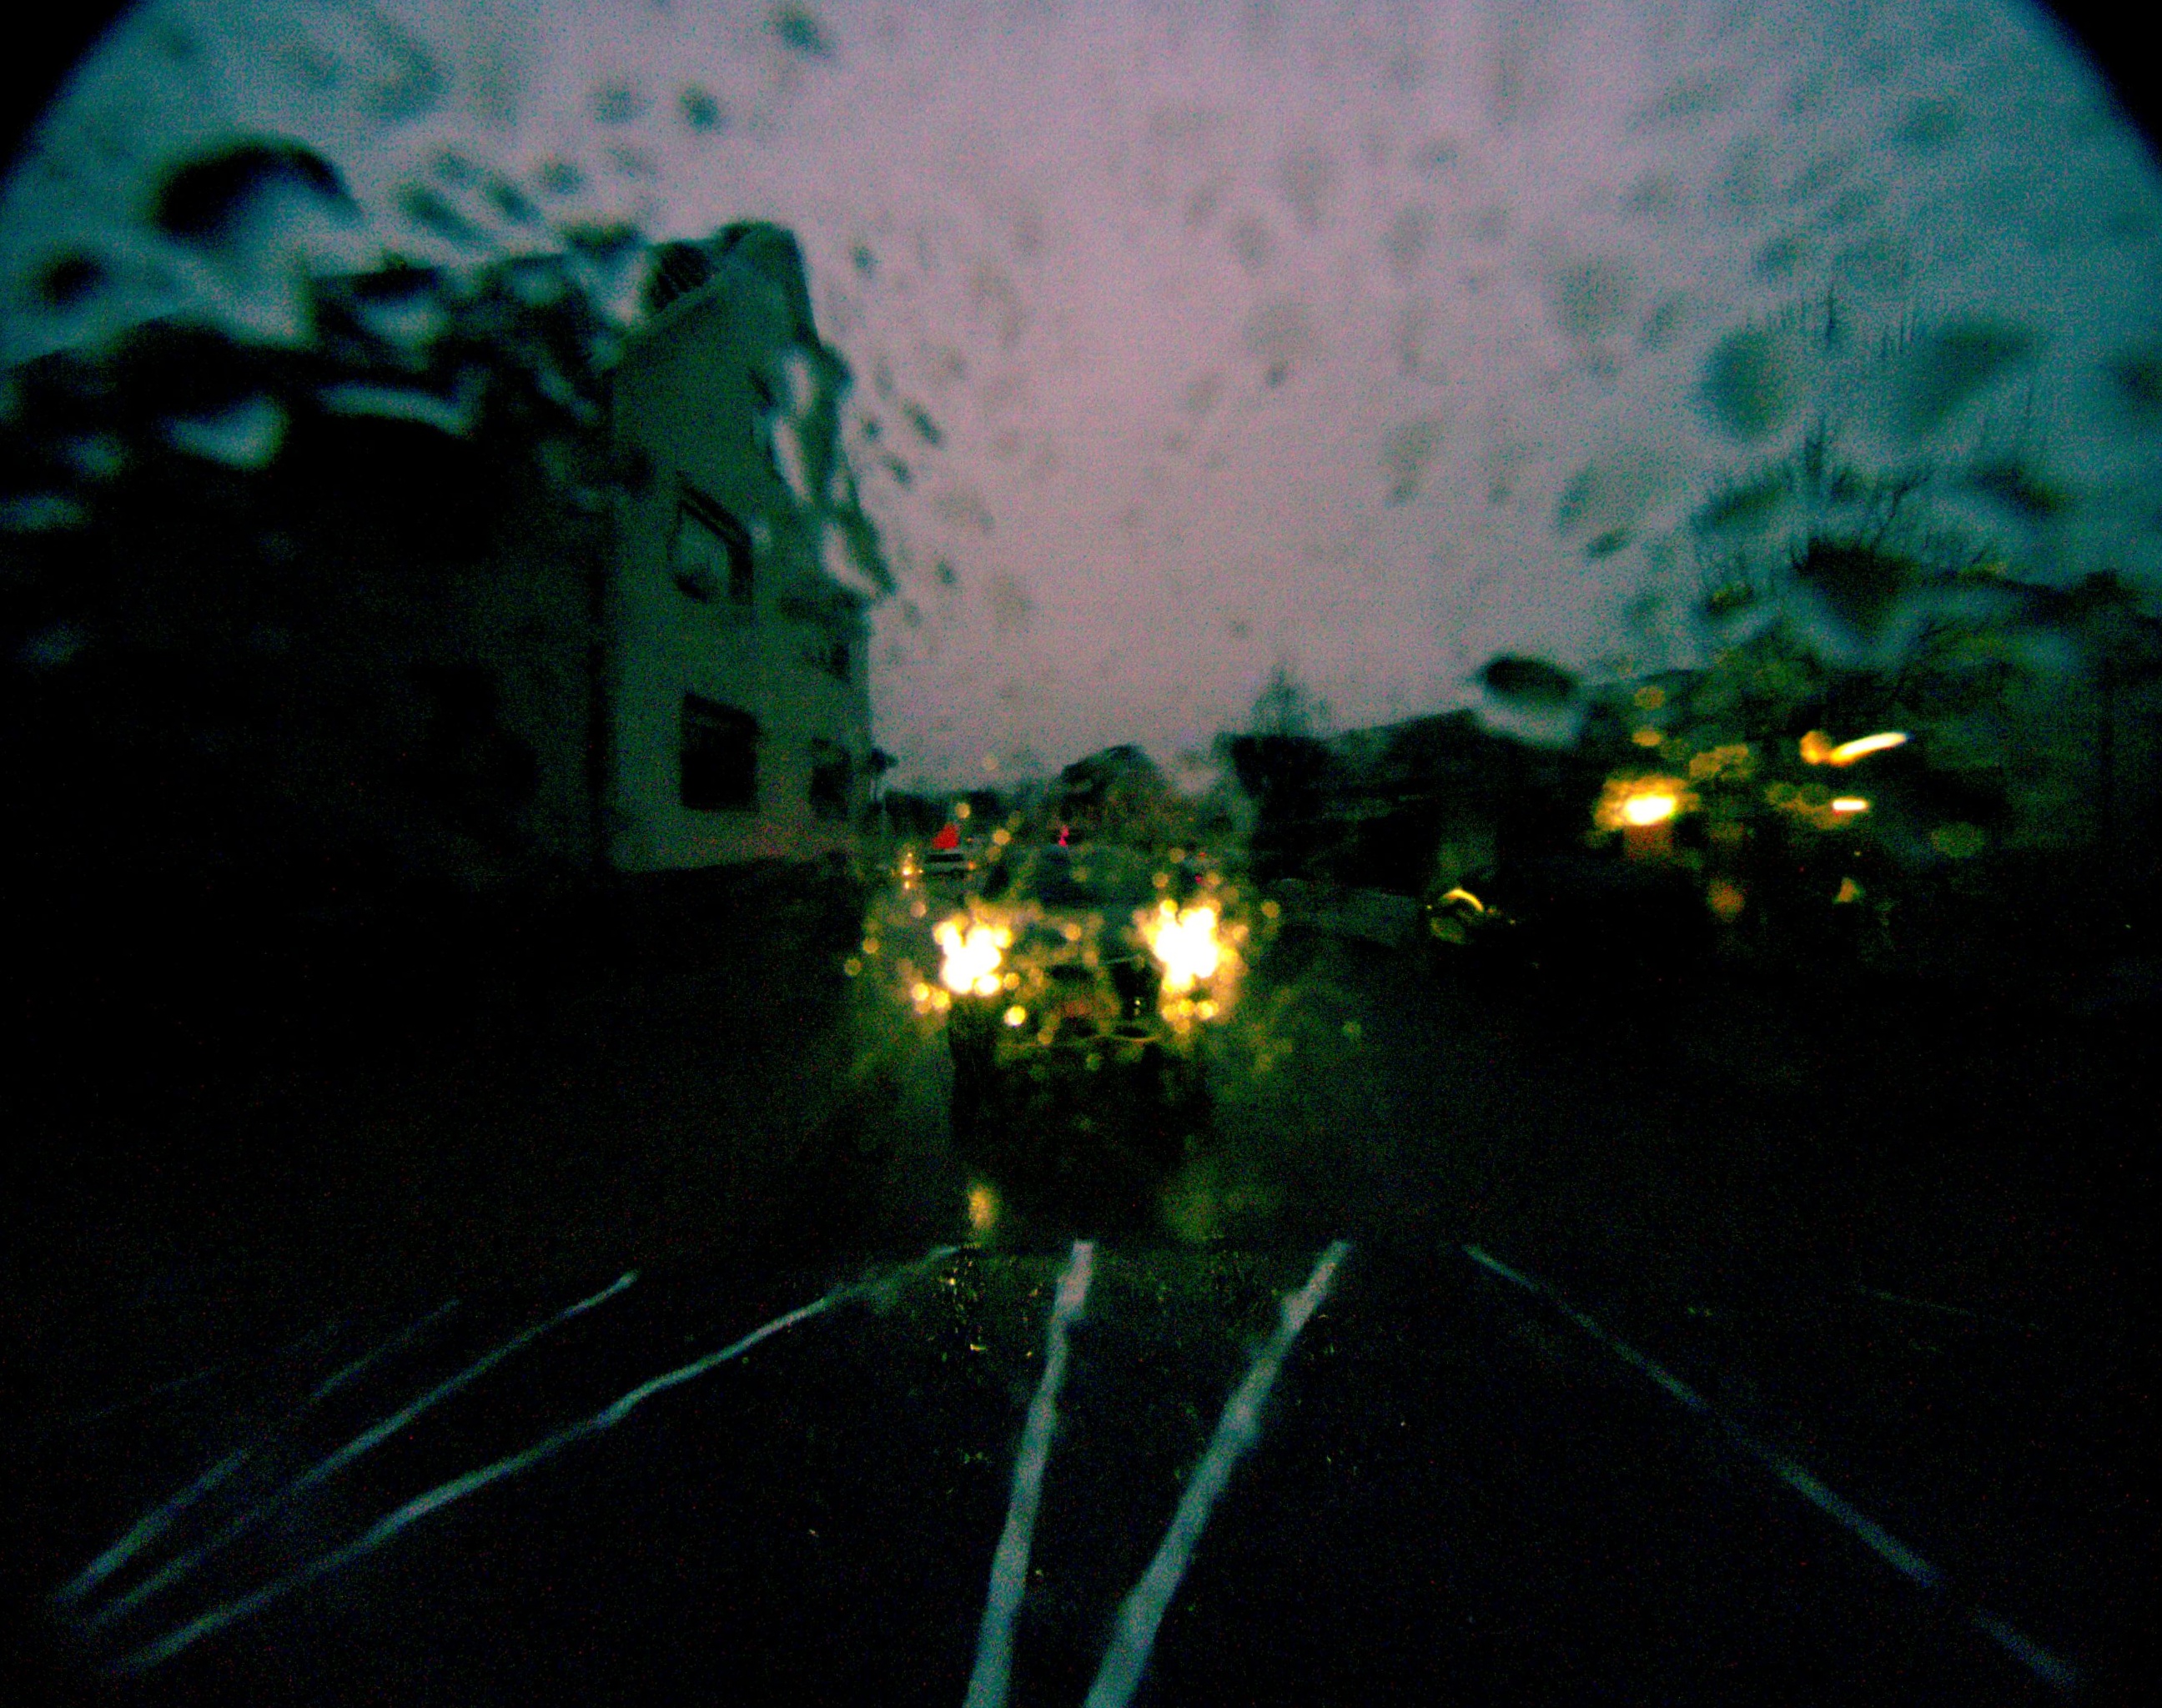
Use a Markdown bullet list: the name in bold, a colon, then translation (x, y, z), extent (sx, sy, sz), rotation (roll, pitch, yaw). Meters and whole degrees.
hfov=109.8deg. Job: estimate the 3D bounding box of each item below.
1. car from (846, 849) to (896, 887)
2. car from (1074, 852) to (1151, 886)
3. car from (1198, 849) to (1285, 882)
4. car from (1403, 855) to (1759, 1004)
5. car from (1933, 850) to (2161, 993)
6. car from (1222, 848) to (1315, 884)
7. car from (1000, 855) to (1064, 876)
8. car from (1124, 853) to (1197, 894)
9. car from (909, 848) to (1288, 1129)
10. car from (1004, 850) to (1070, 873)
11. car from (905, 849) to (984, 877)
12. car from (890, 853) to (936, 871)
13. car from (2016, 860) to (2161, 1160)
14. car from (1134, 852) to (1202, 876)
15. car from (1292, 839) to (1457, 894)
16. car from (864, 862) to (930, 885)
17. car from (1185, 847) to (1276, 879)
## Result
- **car**: translation (-11.659, 0.751, 41.881), extent (1.982, 1.948, 4.842), rotation (-1, 0, -23)
- **car**: translation (1.462, 0.709, 37.253), extent (1.913, 1.524, 4.247), rotation (-2, 0, -26)
- **car**: translation (7.879, 0.552, 37.612), extent (4.107, 1.573, 1.722), rotation (0, 1, 9)
- **car**: translation (6.206, 0.790, 10.203), extent (1.751, 1.464, 4.457), rotation (-2, 0, -1)
- **car**: translation (12.492, 0.697, 8.158), extent (4.078, 1.468, 1.742), rotation (0, 0, 23)
- **car**: translation (8.539, 0.525, 34.772), extent (3.993, 1.521, 2.002), rotation (-1, 0, 13)
- **car**: translation (-3.945, 0.934, 61.349), extent (4.775, 1.625, 1.997), rotation (1, -1, -21)
- **car**: translation (3.181, 0.748, 30.951), extent (1.840, 1.527, 3.671), rotation (-2, 1, -13)
- **car**: translation (0.003, 0.790, 7.141), extent (2.270, 1.633, 5.064), rotation (-1, 1, -3)
- **car**: translation (-3.309, 0.539, 57.301), extent (4.456, 1.623, 2.150), rotation (-1, 1, -29)
- **car**: translation (-10.699, 0.721, 59.668), extent (5.775, 1.934, 1.991), rotation (-2, 0, -1)
- **car**: translation (-17.975, 0.873, 81.190), extent (4.435, 1.790, 1.840), rotation (-1, 0, -30)
- **car**: translation (6.462, 0.804, 2.646), extent (1.697, 1.507, 3.772), rotation (-2, 0, -2)
- **car**: translation (5.347, 0.610, 47.124), extent (4.069, 1.451, 1.758), rotation (-1, 1, 4)
- **car**: translation (10.409, 0.413, 27.439), extent (5.387, 1.874, 2.076), rotation (0, 0, 16)
- **car**: translation (-13.097, 1.369, 54.103), extent (4.105, 1.496, 1.892), rotation (-1, 1, 16)
- **car**: translation (7.891, 0.451, 40.413), extent (4.649, 1.644, 1.989), rotation (0, 1, 9)
